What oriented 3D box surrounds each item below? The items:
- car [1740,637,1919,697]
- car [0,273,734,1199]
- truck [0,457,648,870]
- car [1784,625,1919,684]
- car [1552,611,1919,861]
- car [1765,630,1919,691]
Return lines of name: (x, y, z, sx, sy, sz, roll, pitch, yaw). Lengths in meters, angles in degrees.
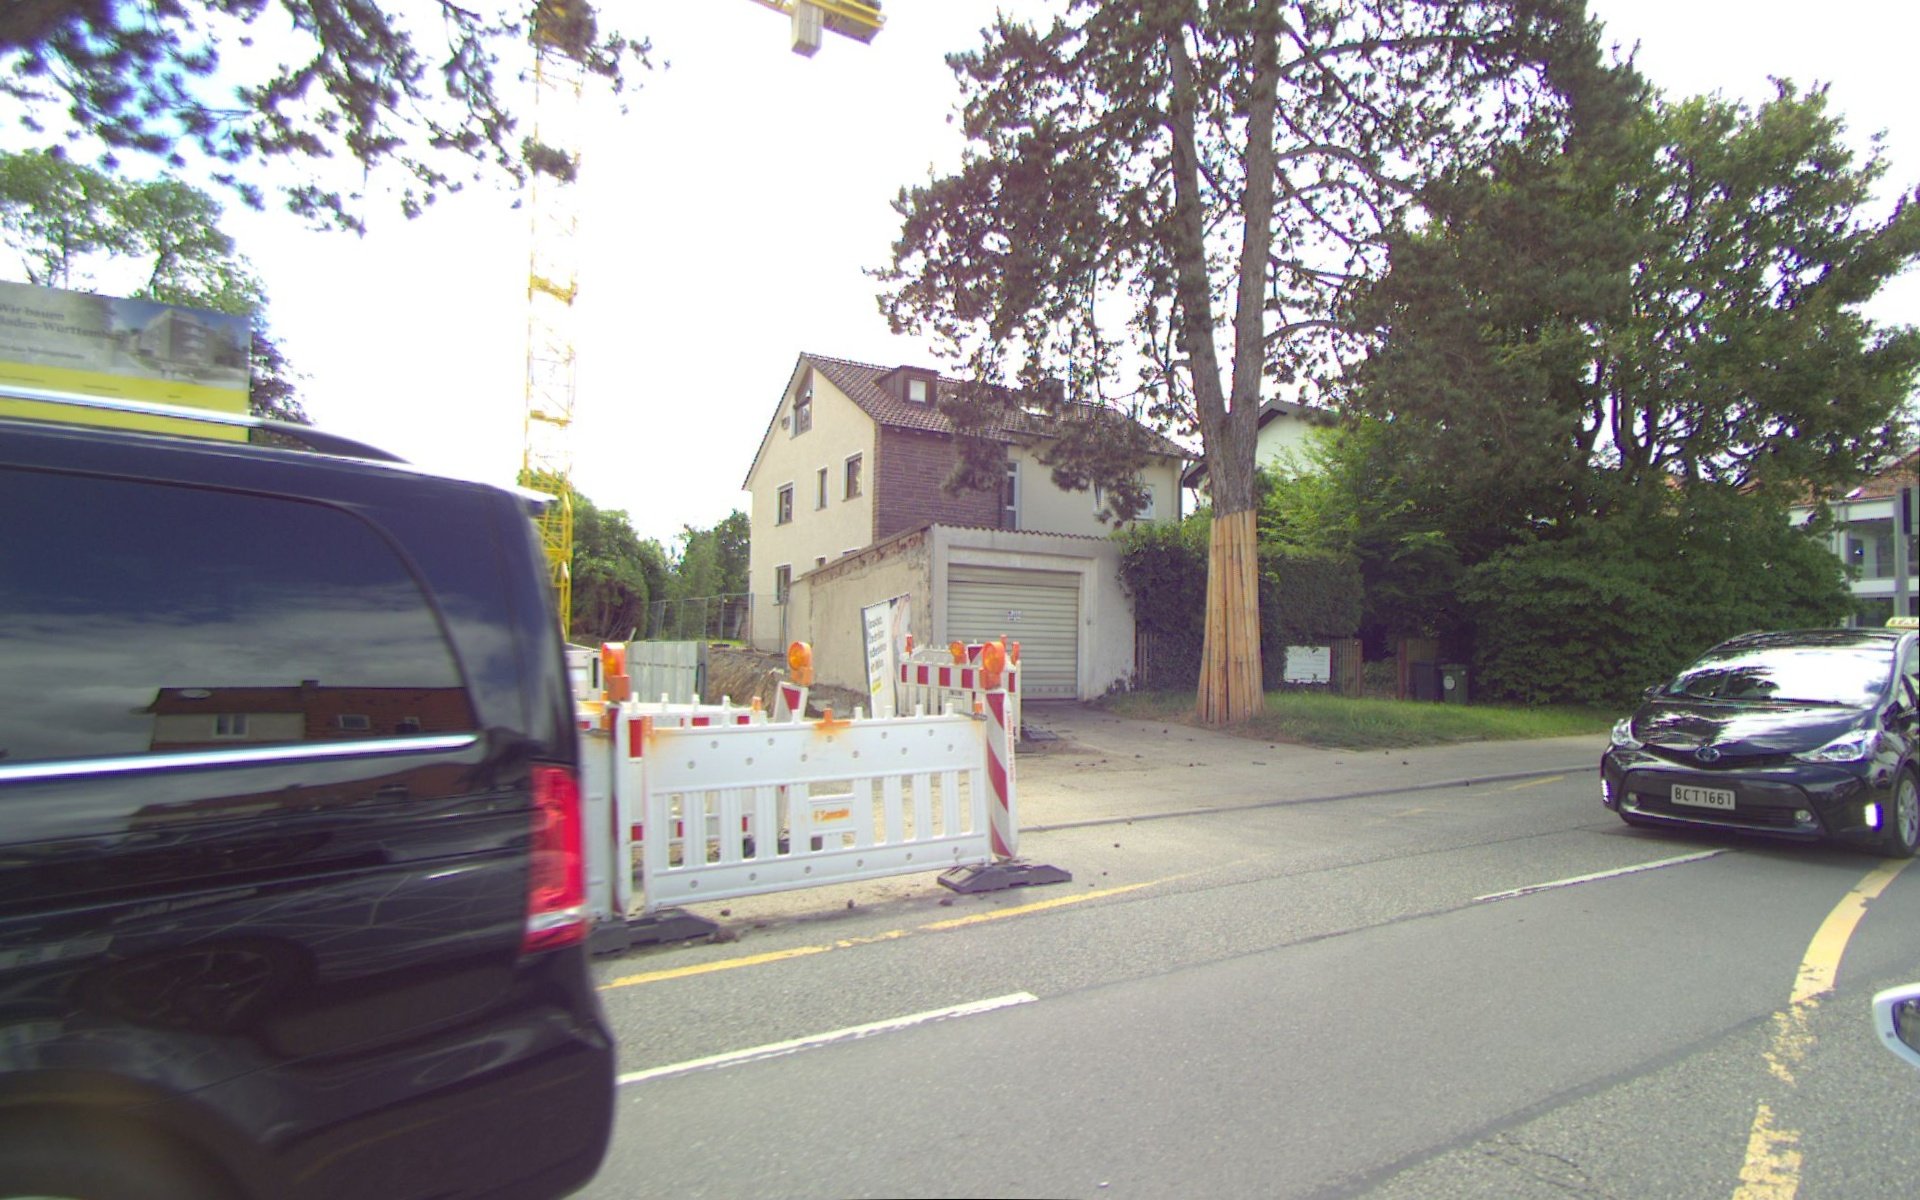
car: (24.127, 1.806, 27.753, 1.709, 1.538, 3.721, 1, -3, -31)
car: (-3.023, 0.507, 1.638, 4.858, 1.977, 1.899, 1, -3, -31)
truck: (-5.625, 0.422, 7.334, 6.019, 2.451, 2.296, 3, -2, -29)
car: (28.453, 1.672, 31.303, 1.635, 1.652, 3.992, 1, 0, -31)
car: (6.982, 0.944, 8.293, 4.481, 1.547, 1.855, 2, -3, -34)
car: (26.201, 1.720, 29.471, 1.517, 1.581, 3.720, 1, 0, -31)
